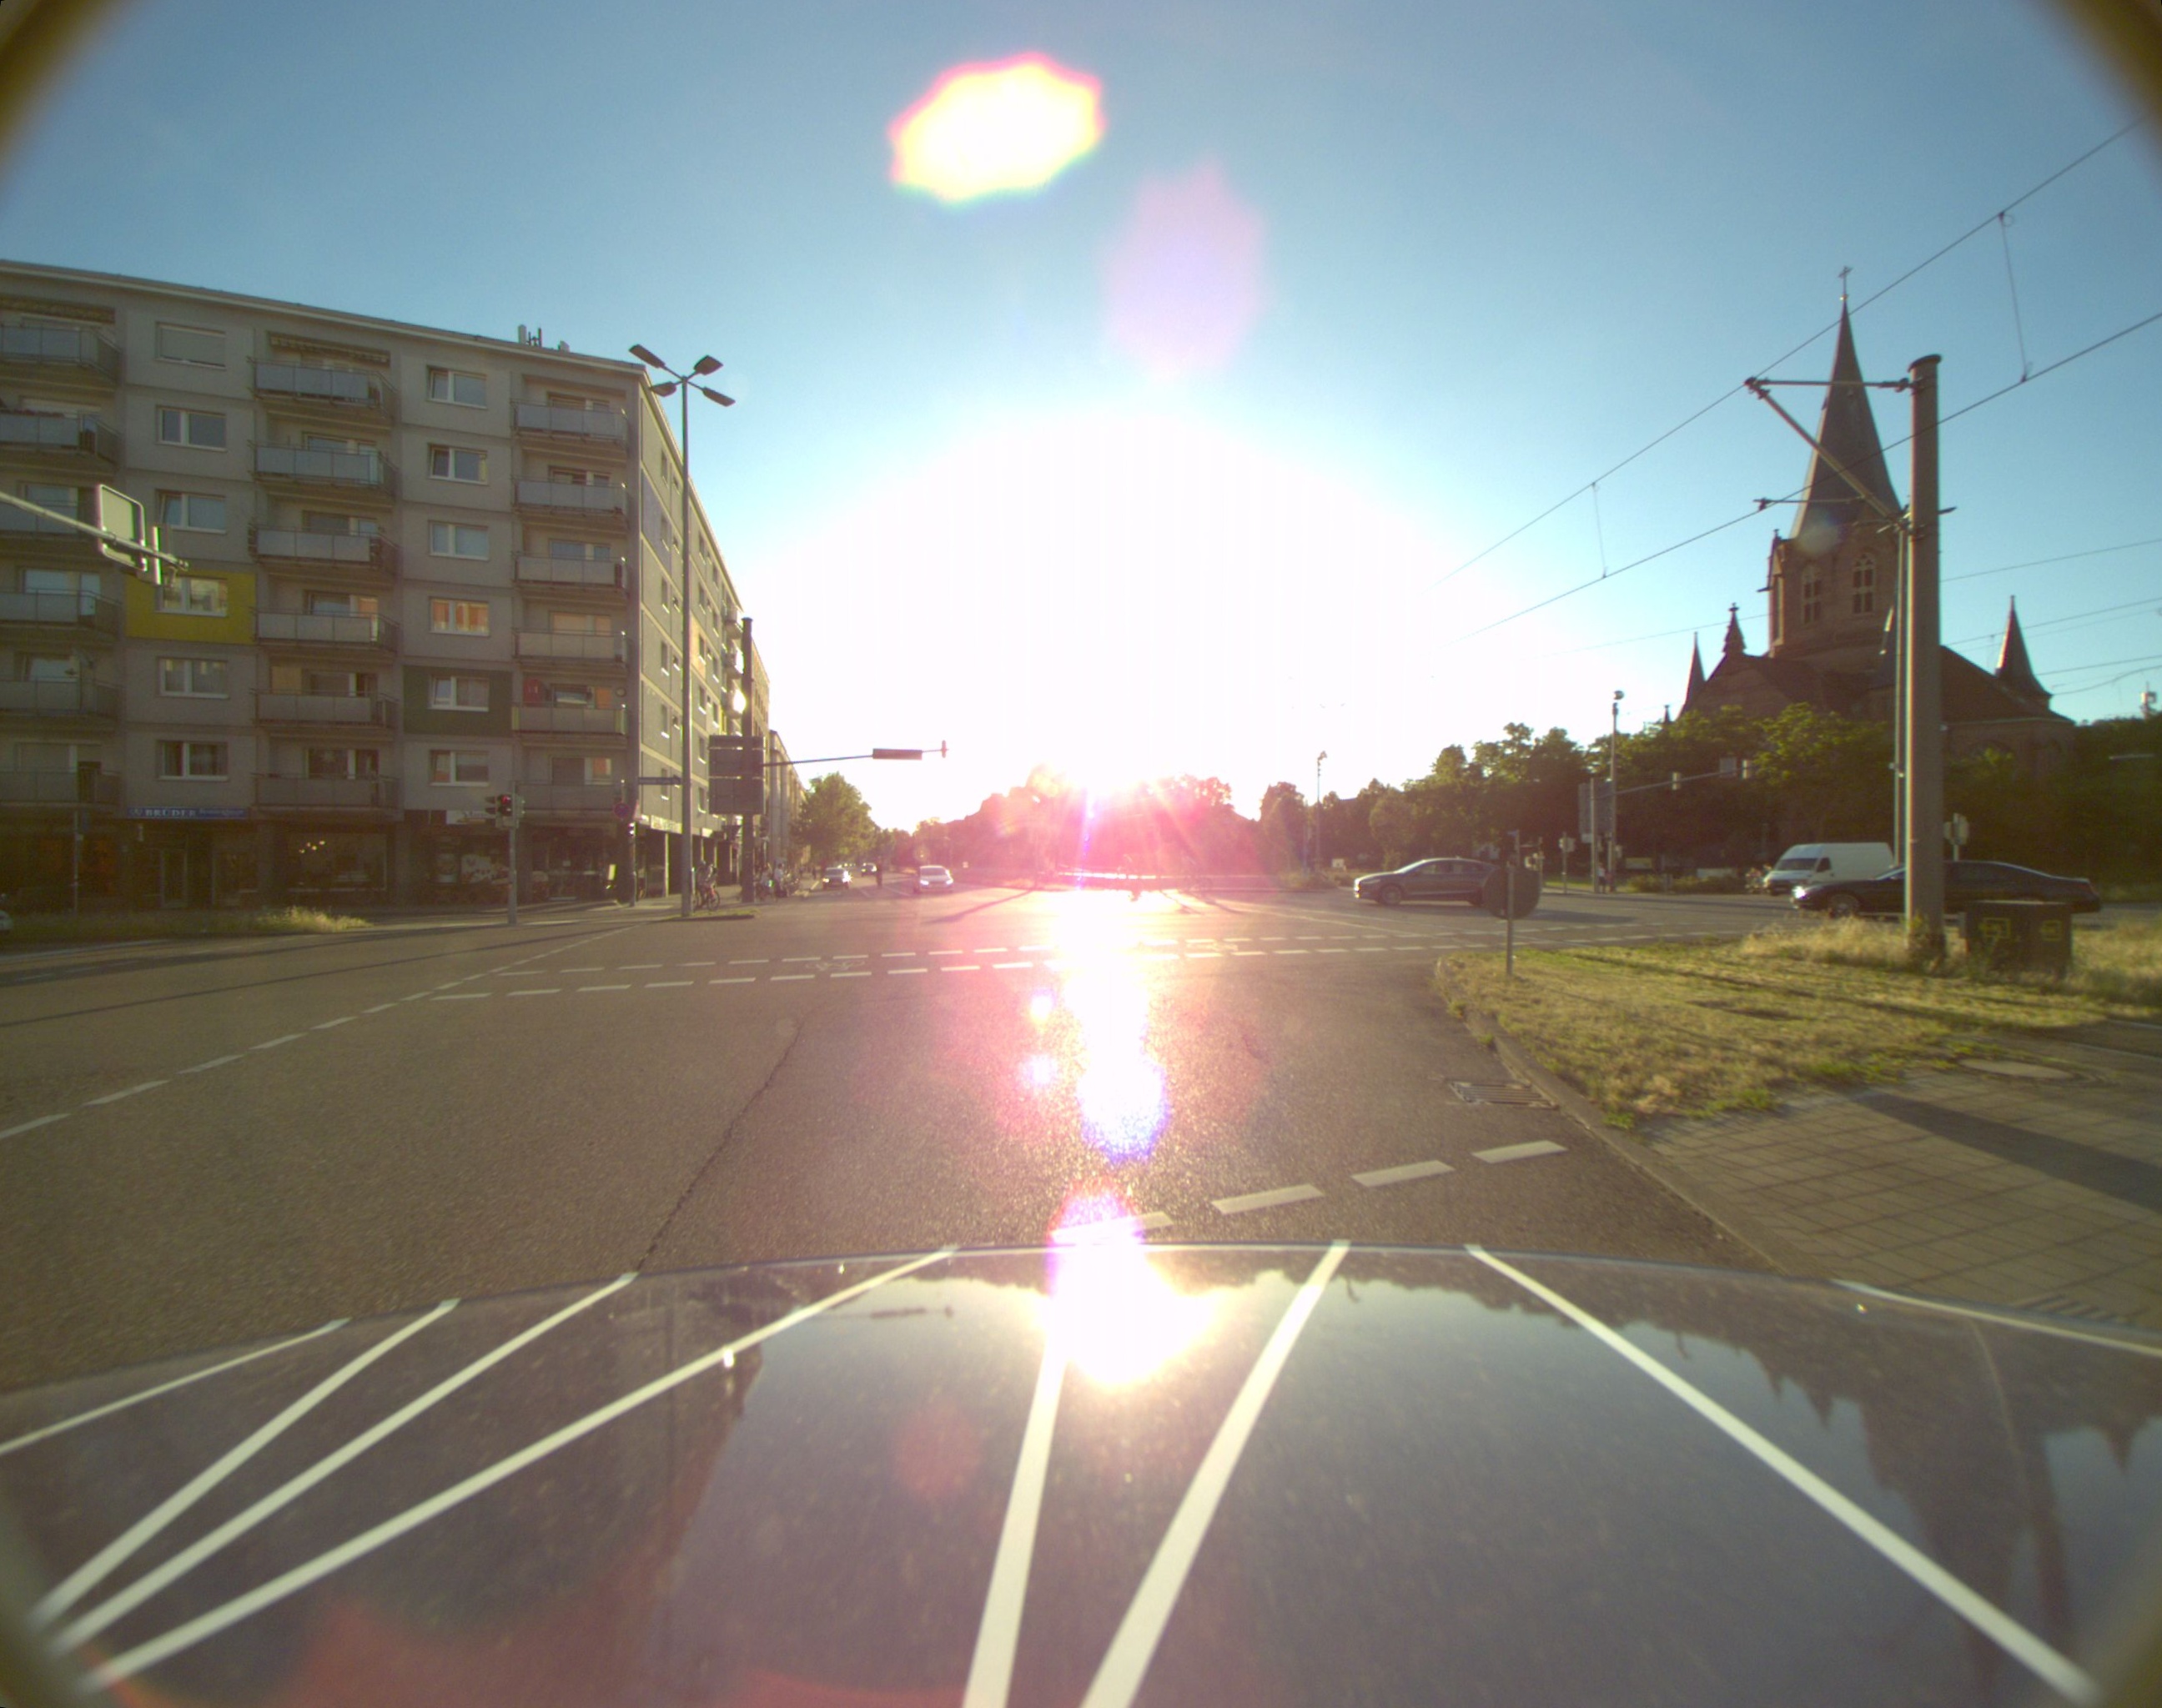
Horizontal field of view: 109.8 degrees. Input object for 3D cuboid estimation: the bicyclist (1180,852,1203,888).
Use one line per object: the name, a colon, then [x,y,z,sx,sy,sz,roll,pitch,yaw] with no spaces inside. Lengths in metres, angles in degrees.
bicyclist: [4.885,0.706,33.719,0.734,1.558,0.822,-1,0,-12]

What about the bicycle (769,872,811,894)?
bicycle: [-15.064,1.495,39.325,1.959,1.113,0.458,-1,0,-14]

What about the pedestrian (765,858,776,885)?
pedestrian: [-23.418,1.326,57.255,0.656,2.002,0.751,-1,0,-15]

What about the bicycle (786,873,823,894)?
bicycle: [-16.147,1.722,44.400,1.959,1.113,0.458,-1,0,-14]

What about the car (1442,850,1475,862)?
car: [59.631,0.304,119.980,2.004,1.811,4.120,-1,-1,-44]

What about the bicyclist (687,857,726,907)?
bicyclist: [-12.098,0.903,24.542,0.822,1.558,0.734,-1,0,10]

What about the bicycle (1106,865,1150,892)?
bicycle: [2.150,1.119,34.685,1.973,1.175,0.490,-1,0,-19]

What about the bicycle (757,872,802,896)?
bicycle: [-14.820,1.483,37.358,1.959,1.113,0.458,-1,0,-14]

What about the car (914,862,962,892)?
car: [-7.740,1.232,40.879,1.958,1.484,3.953,-1,-1,-19]

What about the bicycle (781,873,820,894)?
bicycle: [-15.712,1.657,42.593,1.959,1.113,0.458,-1,0,-14]

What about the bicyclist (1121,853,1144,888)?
bicyclist: [2.351,0.761,34.757,0.734,1.558,0.822,-1,0,-19]

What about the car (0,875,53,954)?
car: [-21.873,1.165,13.499,4.013,1.460,1.918,-1,0,-11]

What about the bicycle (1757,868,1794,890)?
bicycle: [39.281,1.404,42.950,1.972,1.175,0.490,-1,0,-13]

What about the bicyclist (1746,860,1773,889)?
bicyclist: [37.201,1.133,41.671,0.734,1.558,0.822,-1,0,-12]

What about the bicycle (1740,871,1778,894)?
bicycle: [37.210,1.543,41.684,1.972,1.175,0.490,-1,0,-13]

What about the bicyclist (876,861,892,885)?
bicyclist: [-13.269,1.280,51.242,0.997,1.529,0.922,-1,0,-16]

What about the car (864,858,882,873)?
car: [-26.622,1.462,97.301,2.001,1.739,3.995,2,0,-14]

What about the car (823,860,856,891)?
car: [-16.817,1.458,52.807,2.002,2.001,3.993,-1,-1,-20]

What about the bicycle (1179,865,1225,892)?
bicycle: [5.404,1.072,33.828,1.972,1.175,0.490,0,0,-13]

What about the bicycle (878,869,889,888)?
bicycle: [-13.340,1.643,51.299,0.576,1.193,2.203,-1,0,-16]

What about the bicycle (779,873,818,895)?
bicycle: [-15.568,1.643,41.884,1.959,1.113,0.458,-1,0,-14]

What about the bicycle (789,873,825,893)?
bicycle: [-16.222,1.728,45.055,1.959,1.113,0.458,-1,0,-14]

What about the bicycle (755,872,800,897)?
bicycle: [-14.687,1.480,36.842,1.959,1.113,0.458,-1,0,-14]

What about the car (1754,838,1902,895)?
car: [39.194,0.633,39.873,7.206,2.860,2.306,0,-1,-16]

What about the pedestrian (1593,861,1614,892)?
pedestrian: [28.678,1.213,41.730,0.663,1.672,0.657,-1,0,-14]

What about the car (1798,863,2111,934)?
car: [21.774,1.021,19.344,5.012,1.499,1.728,0,1,41]

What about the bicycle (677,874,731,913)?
bicycle: [-12.088,1.243,24.417,0.490,1.175,1.973,-1,0,8]

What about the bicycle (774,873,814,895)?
bicycle: [-15.467,1.625,40.925,1.959,1.113,0.458,-1,0,-14]

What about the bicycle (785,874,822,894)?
bicycle: [-16.015,1.720,43.843,1.959,1.113,0.458,-1,0,-14]

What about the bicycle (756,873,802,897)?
bicycle: [-14.440,1.480,36.357,1.959,1.113,0.458,-1,0,-14]

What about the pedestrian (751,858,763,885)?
pedestrian: [-24.271,1.283,56.966,0.718,2.002,0.645,-1,0,-16]

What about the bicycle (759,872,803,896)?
bicycle: [-14.930,1.491,37.891,1.959,1.113,0.458,-1,0,-14]

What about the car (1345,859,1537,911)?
car: [10.913,0.911,23.411,5.033,1.428,1.881,1,1,12]
